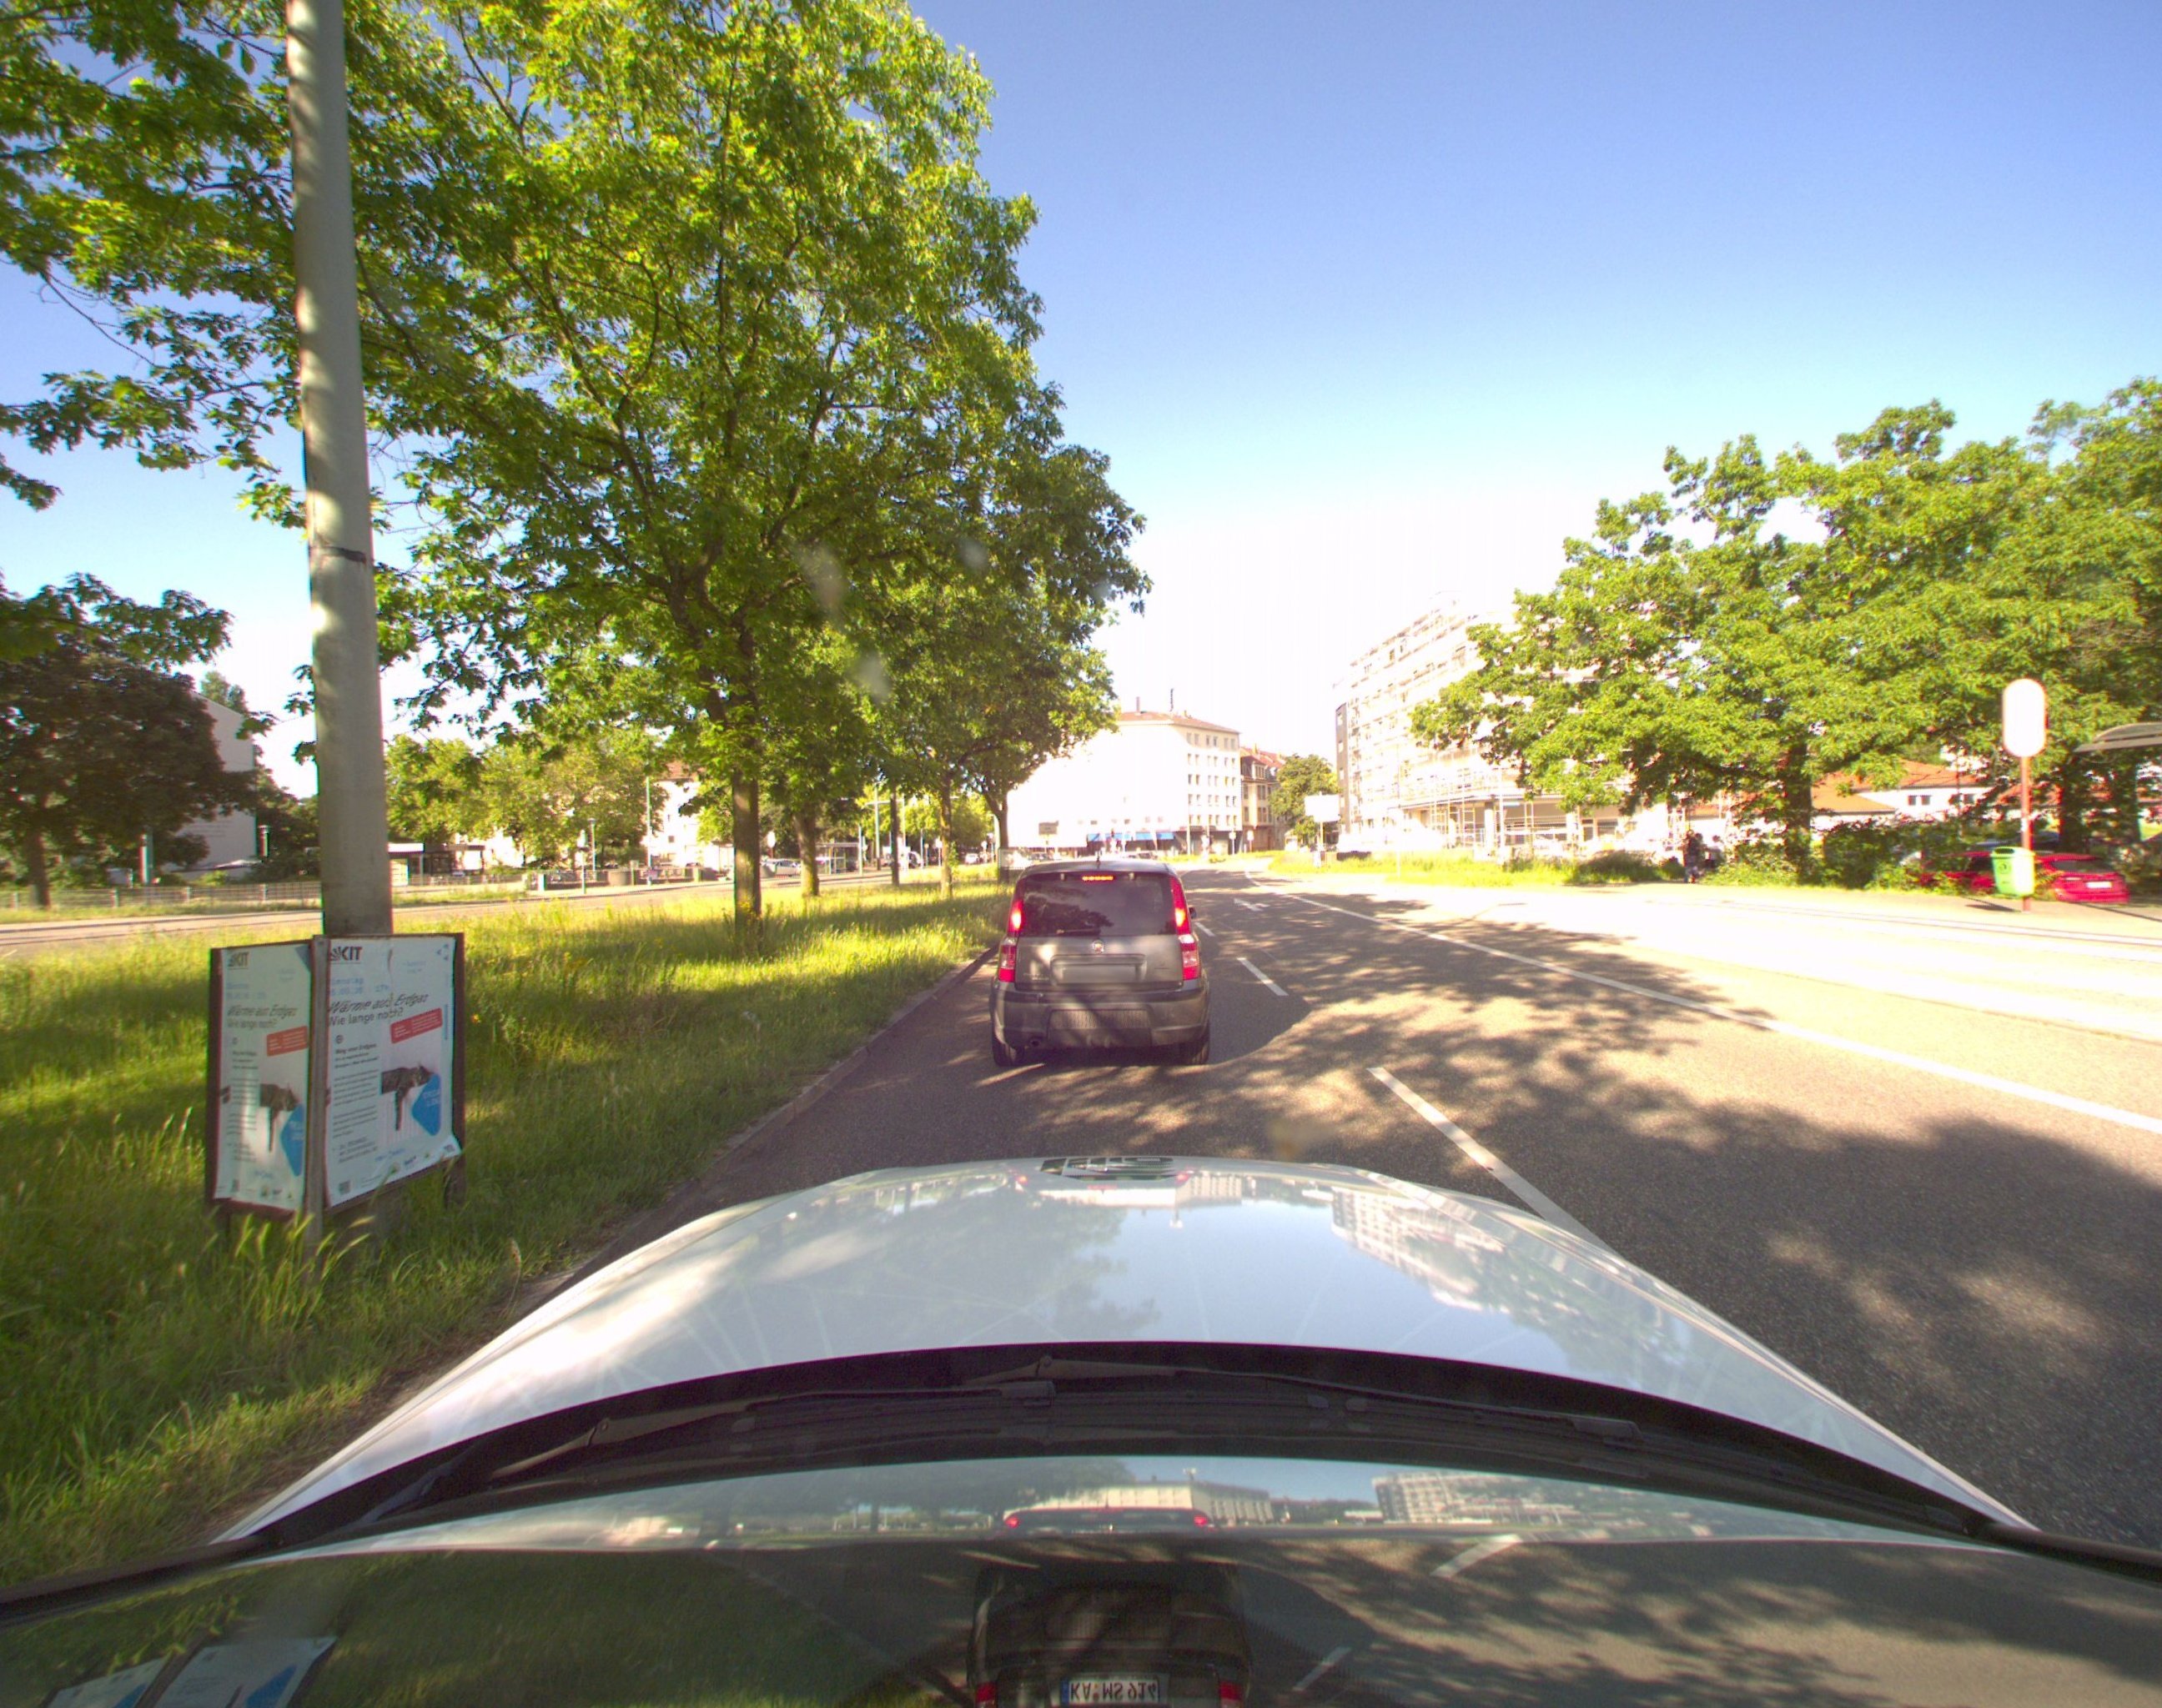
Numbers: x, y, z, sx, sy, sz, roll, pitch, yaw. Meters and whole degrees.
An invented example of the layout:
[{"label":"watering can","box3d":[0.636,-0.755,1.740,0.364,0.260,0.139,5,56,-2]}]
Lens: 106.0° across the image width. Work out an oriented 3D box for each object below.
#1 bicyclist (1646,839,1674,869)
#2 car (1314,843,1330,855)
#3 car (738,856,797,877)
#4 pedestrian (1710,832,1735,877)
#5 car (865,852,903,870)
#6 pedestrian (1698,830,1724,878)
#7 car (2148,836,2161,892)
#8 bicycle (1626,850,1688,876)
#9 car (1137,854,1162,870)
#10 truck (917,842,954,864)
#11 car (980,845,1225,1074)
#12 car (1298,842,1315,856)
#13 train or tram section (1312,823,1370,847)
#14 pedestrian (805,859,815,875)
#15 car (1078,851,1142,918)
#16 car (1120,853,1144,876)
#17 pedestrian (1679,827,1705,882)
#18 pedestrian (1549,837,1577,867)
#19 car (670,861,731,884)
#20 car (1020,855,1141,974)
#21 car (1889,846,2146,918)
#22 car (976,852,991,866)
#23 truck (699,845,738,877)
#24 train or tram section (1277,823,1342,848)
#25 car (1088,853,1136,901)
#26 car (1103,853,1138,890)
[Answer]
[{"label":"bicyclist","box3d":[28.327,-0.001,39.847,0.839,1.438,0.744,0,-1,2]},{"label":"car","box3d":[27.635,-0.595,93.432,1.514,1.314,3.304,-2,0,20]},{"label":"car","box3d":[-27.311,1.069,71.076,1.974,1.684,4.348,-2,0,40]},{"label":"pedestrian","box3d":[20.902,0.013,26.553,0.516,1.447,0.595,-2,0,28]},{"label":"car","box3d":[-23.935,0.890,99.038,4.164,2.013,1.931,-2,0,-1]},{"label":"pedestrian","box3d":[19.227,-0.009,24.855,0.516,1.447,0.595,-2,0,28]},{"label":"car","box3d":[29.867,0.237,20.183,1.911,1.486,3.725,-2,0,-17]},{"label":"bicycle","box3d":[28.183,0.440,39.868,2.502,1.198,0.711,0,-1,2]},{"label":"car","box3d":[4.872,0.573,57.723,1.133,1.064,2.735,-2,0,19]},{"label":"truck","box3d":[-22.997,-0.145,128.579,5.425,3.168,2.358,-2,0,30]},{"label":"car","box3d":[0.208,0.705,7.542,1.622,1.508,4.002,-2,0,2]},{"label":"car","box3d":[24.923,-0.543,90.002,1.669,1.449,3.588,-2,0,18]},{"label":"train or tram section","box3d":[43.923,-3.217,136.621,3.263,3.770,20.944,-2,0,35]},{"label":"pedestrian","box3d":[-23.964,1.110,72.032,0.411,1.391,0.630,-2,0,28]},{"label":"car","box3d":[0.730,0.699,20.801,1.458,1.508,3.506,-2,1,2]},{"label":"car","box3d":[3.102,0.619,49.684,1.351,1.281,2.877,-2,0,2]},{"label":"pedestrian","box3d":[18.538,0.012,24.710,0.516,1.612,0.595,-2,0,28]},{"label":"pedestrian","box3d":[26.901,-0.114,45.466,0.890,1.653,0.982,-2,0,-17]},{"label":"car","box3d":[-31.187,1.504,66.840,1.974,1.684,4.025,-2,0,40]},{"label":"car","box3d":[0.053,0.749,11.770,1.458,1.401,3.395,-2,0,2]},{"label":"car","box3d":[21.991,0.597,19.380,1.747,1.486,3.743,-2,0,-2]},{"label":"car","box3d":[-14.830,0.728,124.168,1.988,2.013,3.997,-2,0,-2]},{"label":"truck","box3d":[-33.068,0.633,74.212,2.012,2.805,3.951,-2,0,-44]},{"label":"train or tram section","box3d":[34.958,-2.795,123.594,3.263,3.513,19.509,-2,0,35]},{"label":"car","box3d":[1.034,0.728,27.383,1.458,1.424,3.383,-2,1,2]},{"label":"car","box3d":[1.607,0.692,33.974,1.351,1.449,3.267,-2,0,2]}]
